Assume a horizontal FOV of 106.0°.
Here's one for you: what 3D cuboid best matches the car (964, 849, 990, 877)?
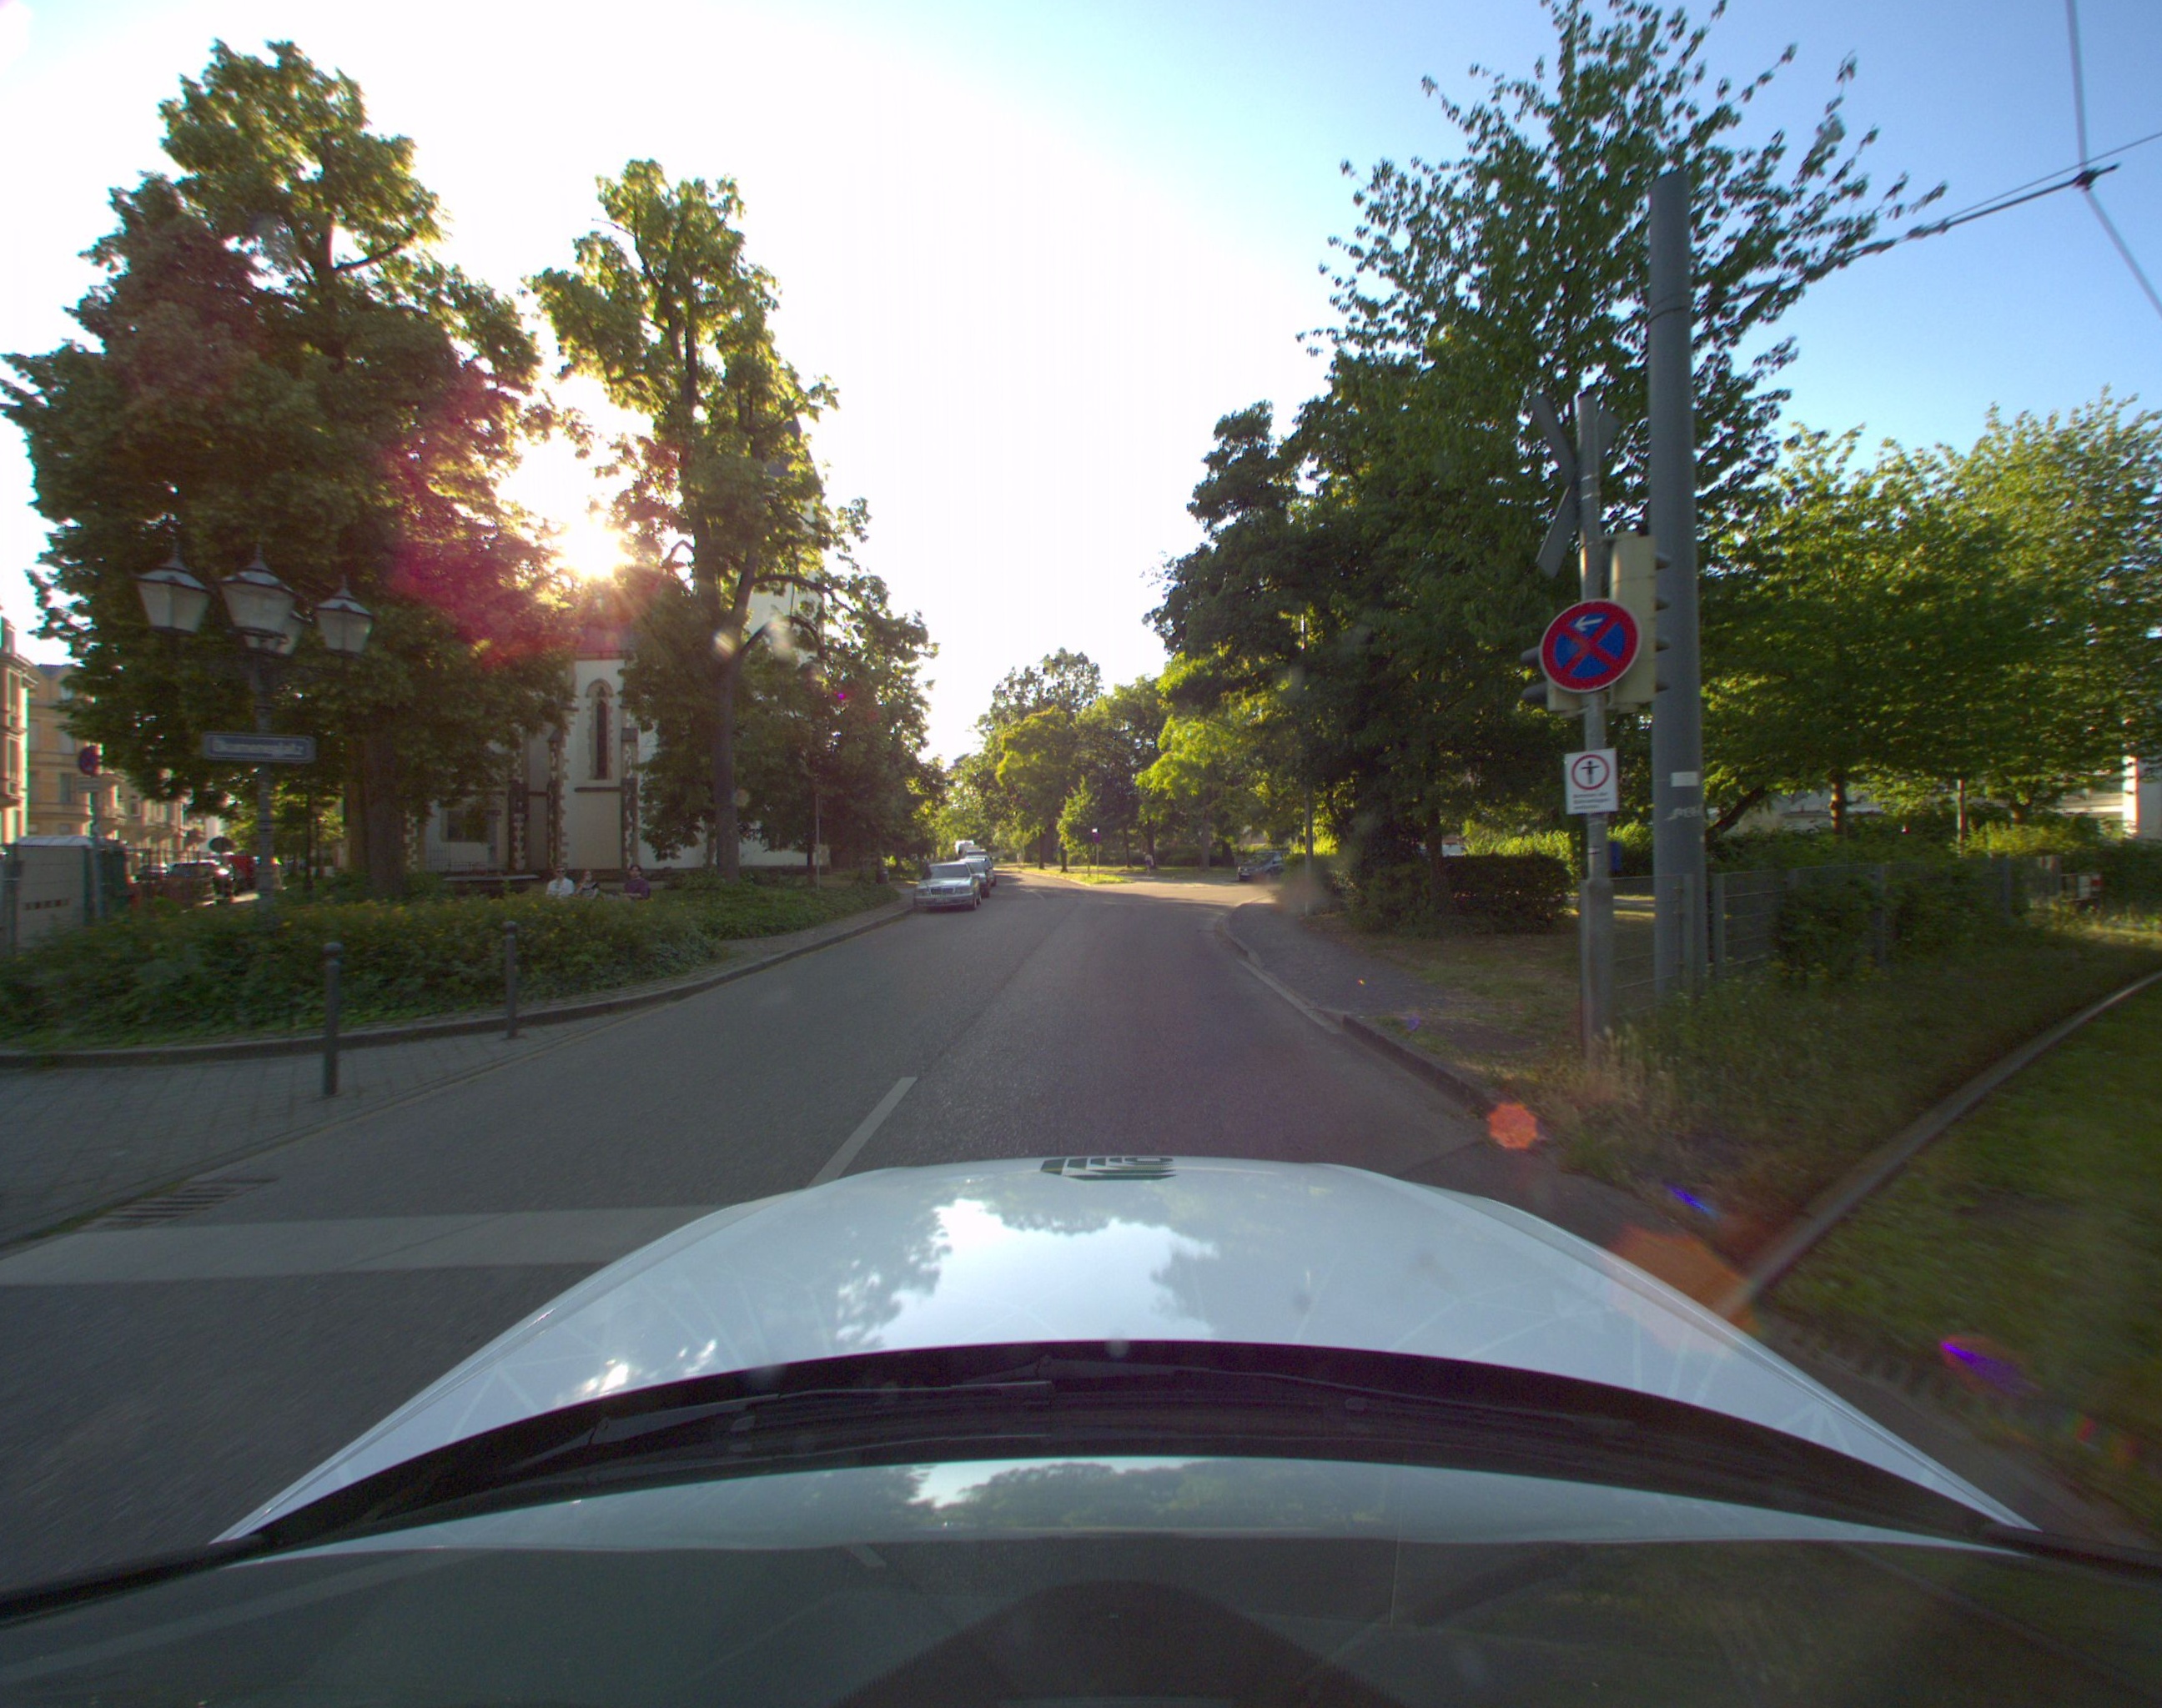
[{"bbox_3d":[-7.643,0.635,59.854,1.850,1.946,4.828,-1,0,-8],"label":"car"}]

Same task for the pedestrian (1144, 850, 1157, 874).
[{"bbox_3d":[4.536,0.518,53.223,0.770,1.574,0.768,-1,0,2],"label":"pedestrian"}]

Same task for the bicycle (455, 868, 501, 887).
[{"bbox_3d":[-31.310,1.220,42.282,1.894,0.918,0.418,0,0,-41],"label":"bicycle"}]

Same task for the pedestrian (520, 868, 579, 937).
[{"bbox_3d":[-9.838,0.882,15.100,0.547,1.233,0.727,-1,0,10],"label":"pedestrian"}]

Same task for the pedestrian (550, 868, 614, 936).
[{"bbox_3d":[-9.246,0.876,15.117,0.547,1.195,0.886,-1,0,10],"label":"pedestrian"}]

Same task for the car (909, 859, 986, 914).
[{"bbox_3d":[-3.968,0.921,24.848,1.775,1.415,4.493,-3,0,-3],"label":"car"}]

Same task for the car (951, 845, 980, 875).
[{"bbox_3d":[-9.438,0.496,66.339,1.853,2.356,5.163,0,0,-13],"label":"car"}]

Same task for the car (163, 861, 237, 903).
[{"bbox_3d":[-37.876,1.179,35.096,1.902,1.655,4.168,-1,0,-44],"label":"car"}]

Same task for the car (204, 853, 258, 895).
[{"bbox_3d":[-47.360,1.093,45.435,1.902,2.261,4.168,0,-1,-44],"label":"car"}]

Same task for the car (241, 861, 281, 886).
[{"bbox_3d":[-57.864,1.335,57.503,1.902,1.655,4.168,-1,0,-44],"label":"car"}]

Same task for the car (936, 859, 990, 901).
[{"bbox_3d":[-4.548,0.956,31.878,1.822,1.415,4.485,-3,0,-6],"label":"car"}]

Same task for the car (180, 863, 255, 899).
[{"bbox_3d":[-43.306,1.323,40.951,1.900,1.655,4.173,-1,0,-37],"label":"car"}]

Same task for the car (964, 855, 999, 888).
[{"bbox_3d":[-5.173,0.871,42.260,1.703,1.579,3.687,-1,0,-8],"label":"car"}]

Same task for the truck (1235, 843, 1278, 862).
[{"bbox_3d":[29.437,-0.279,137.103,2.619,3.029,7.937,0,0,-27],"label":"truck"}]

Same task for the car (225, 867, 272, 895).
[{"bbox_3d":[-51.310,1.640,50.269,1.902,1.655,4.168,-1,0,-44],"label":"car"}]

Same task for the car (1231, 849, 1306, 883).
[{"bbox_3d":[10.150,0.608,44.013,4.344,1.675,1.786,0,2,-42],"label":"car"}]

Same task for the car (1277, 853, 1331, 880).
[{"bbox_3d":[12.983,0.708,47.309,3.445,1.423,1.375,0,1,-42],"label":"car"}]

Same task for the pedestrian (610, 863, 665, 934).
[{"bbox_3d":[-8.394,0.832,15.432,0.547,1.298,0.768,-1,0,10],"label":"pedestrian"}]

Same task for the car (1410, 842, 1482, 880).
[{"bbox_3d":[20.576,0.376,45.829,5.183,2.013,1.935,0,0,-45],"label":"car"}]

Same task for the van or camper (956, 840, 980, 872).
[{"bbox_3d":[-10.879,0.218,78.210,2.090,2.908,6.310,-1,0,-10],"label":"van or camper"}]

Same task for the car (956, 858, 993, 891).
[{"bbox_3d":[-4.964,0.918,38.359,1.610,1.440,3.598,-2,0,-6],"label":"car"}]

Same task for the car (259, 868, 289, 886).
[{"bbox_3d":[-75.062,2.126,75.748,1.902,1.514,4.168,-1,0,-44],"label":"car"}]
